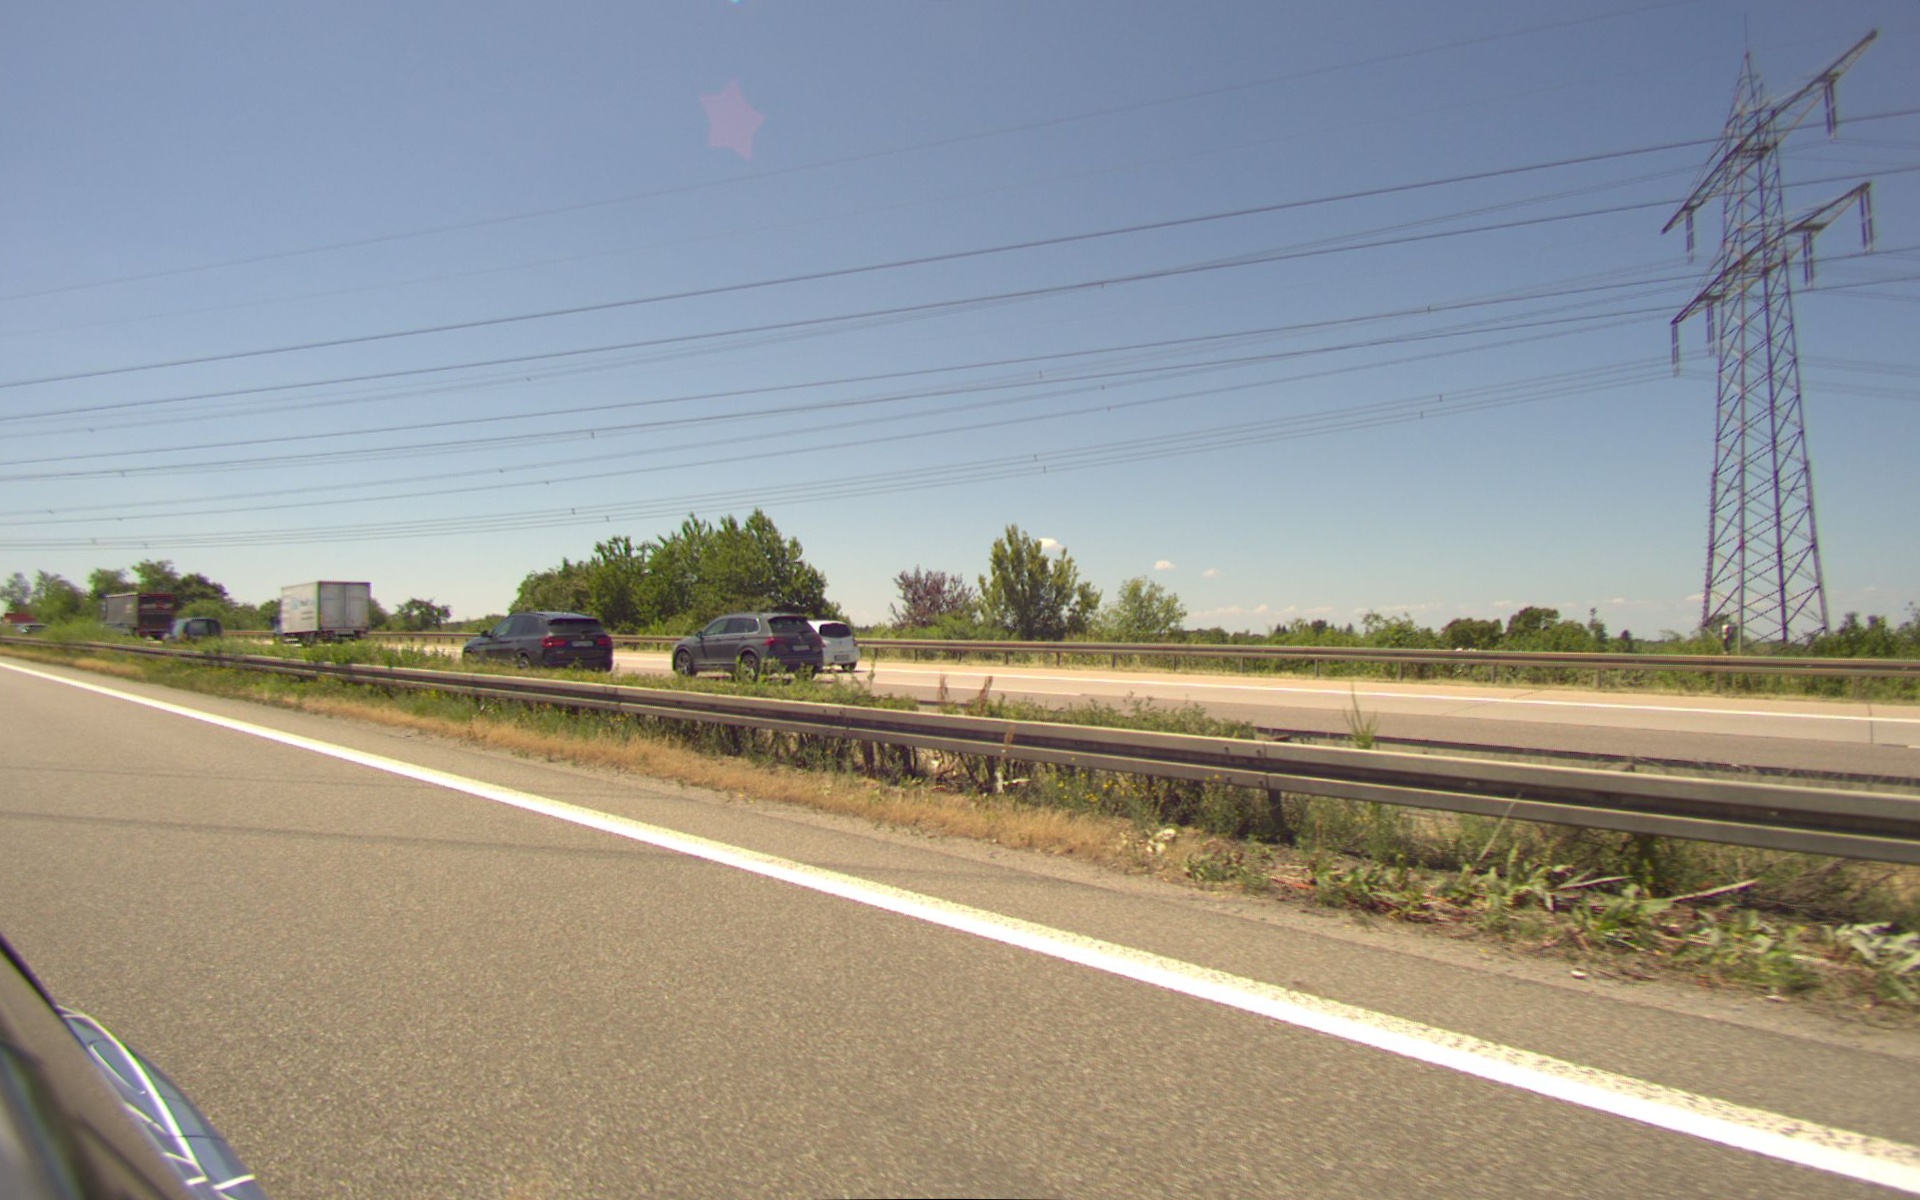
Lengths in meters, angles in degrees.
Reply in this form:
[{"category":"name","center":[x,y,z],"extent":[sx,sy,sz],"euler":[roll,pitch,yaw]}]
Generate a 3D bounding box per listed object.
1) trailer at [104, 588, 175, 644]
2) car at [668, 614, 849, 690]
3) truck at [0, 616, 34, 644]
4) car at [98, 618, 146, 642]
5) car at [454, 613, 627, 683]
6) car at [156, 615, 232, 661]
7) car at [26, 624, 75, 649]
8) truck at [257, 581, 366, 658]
[{"category":"trailer","center":[-72.617,1.527,89.407],"extent":[13.857,4.587,2.621],"euler":[-2,-2,41]},{"category":"car","center":[-4.871,1.207,24.155],"extent":[4.409,1.630,1.973],"euler":[-2,-2,41]},{"category":"truck","center":[-123.929,3.927,132.659],"extent":[8.527,3.554,2.742],"euler":[-2,-2,41]},{"category":"car","center":[-61.840,2.235,74.669],"extent":[5.015,1.630,1.973],"euler":[-2,-2,41]},{"category":"car","center":[-9.748,1.071,23.371],"extent":[4.409,1.446,1.973],"euler":[-2,-1,41]},{"category":"car","center":[-35.105,1.738,46.330],"extent":[4.284,1.989,1.973],"euler":[-2,-2,41]},{"category":"car","center":[-63.537,2.567,70.648],"extent":[5.015,1.630,1.973],"euler":[-2,-2,41]},{"category":"truck","center":[-36.430,1.230,56.681],"extent":[9.666,4.007,2.428],"euler":[-2,-5,41]}]
